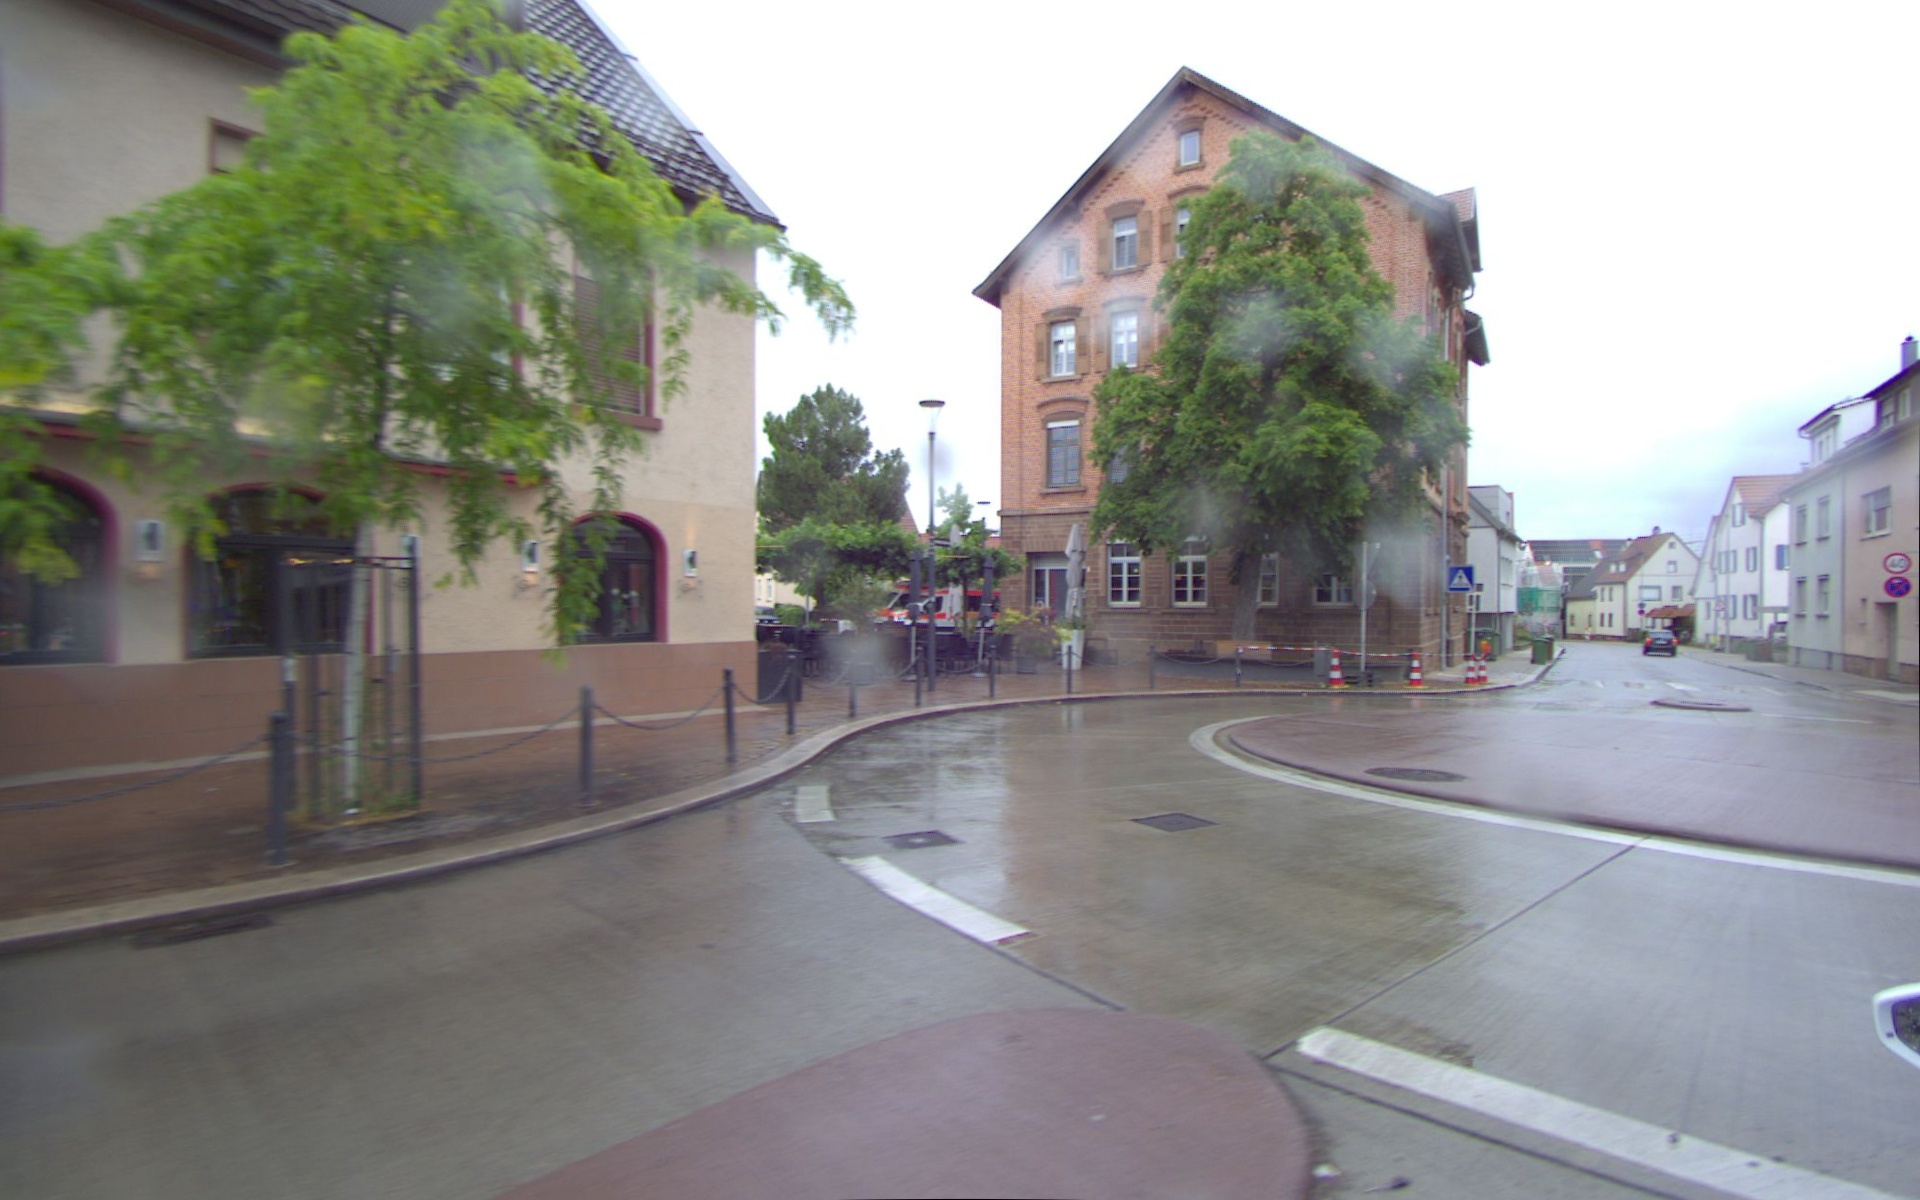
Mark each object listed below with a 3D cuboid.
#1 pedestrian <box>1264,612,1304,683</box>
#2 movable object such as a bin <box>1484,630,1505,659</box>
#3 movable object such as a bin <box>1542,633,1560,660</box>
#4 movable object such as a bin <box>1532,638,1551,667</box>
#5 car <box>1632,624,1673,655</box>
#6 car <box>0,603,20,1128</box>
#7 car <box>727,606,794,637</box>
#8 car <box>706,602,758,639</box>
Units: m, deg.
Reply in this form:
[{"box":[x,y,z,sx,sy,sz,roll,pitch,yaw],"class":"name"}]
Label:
[{"box":[8.972,1.304,27.791,0.828,1.911,0.823,2,0,31],"class":"pedestrian"},{"box":[22.366,1.865,42.028,0.736,1.184,0.631,2,0,27],"class":"movable object such as a bin"},{"box":[27.396,2.153,46.596,0.644,1.184,0.781,2,0,28],"class":"movable object such as a bin"},{"box":[24.583,2.202,42.495,0.617,1.188,0.761,2,0,28],"class":"movable object such as a bin"},{"box":[41.432,2.376,60.163,1.945,1.701,4.057,1,-2,34],"class":"car"},{"box":[-4.668,0.725,1.611,1.645,1.449,4.449,-2,-2,39],"class":"car"},{"box":[-10.419,1.098,52.188,1.858,1.461,3.958,3,-2,-37],"class":"car"},{"box":[-13.300,1.196,58.491,1.975,2.040,3.972,3,-1,-27],"class":"car"}]
